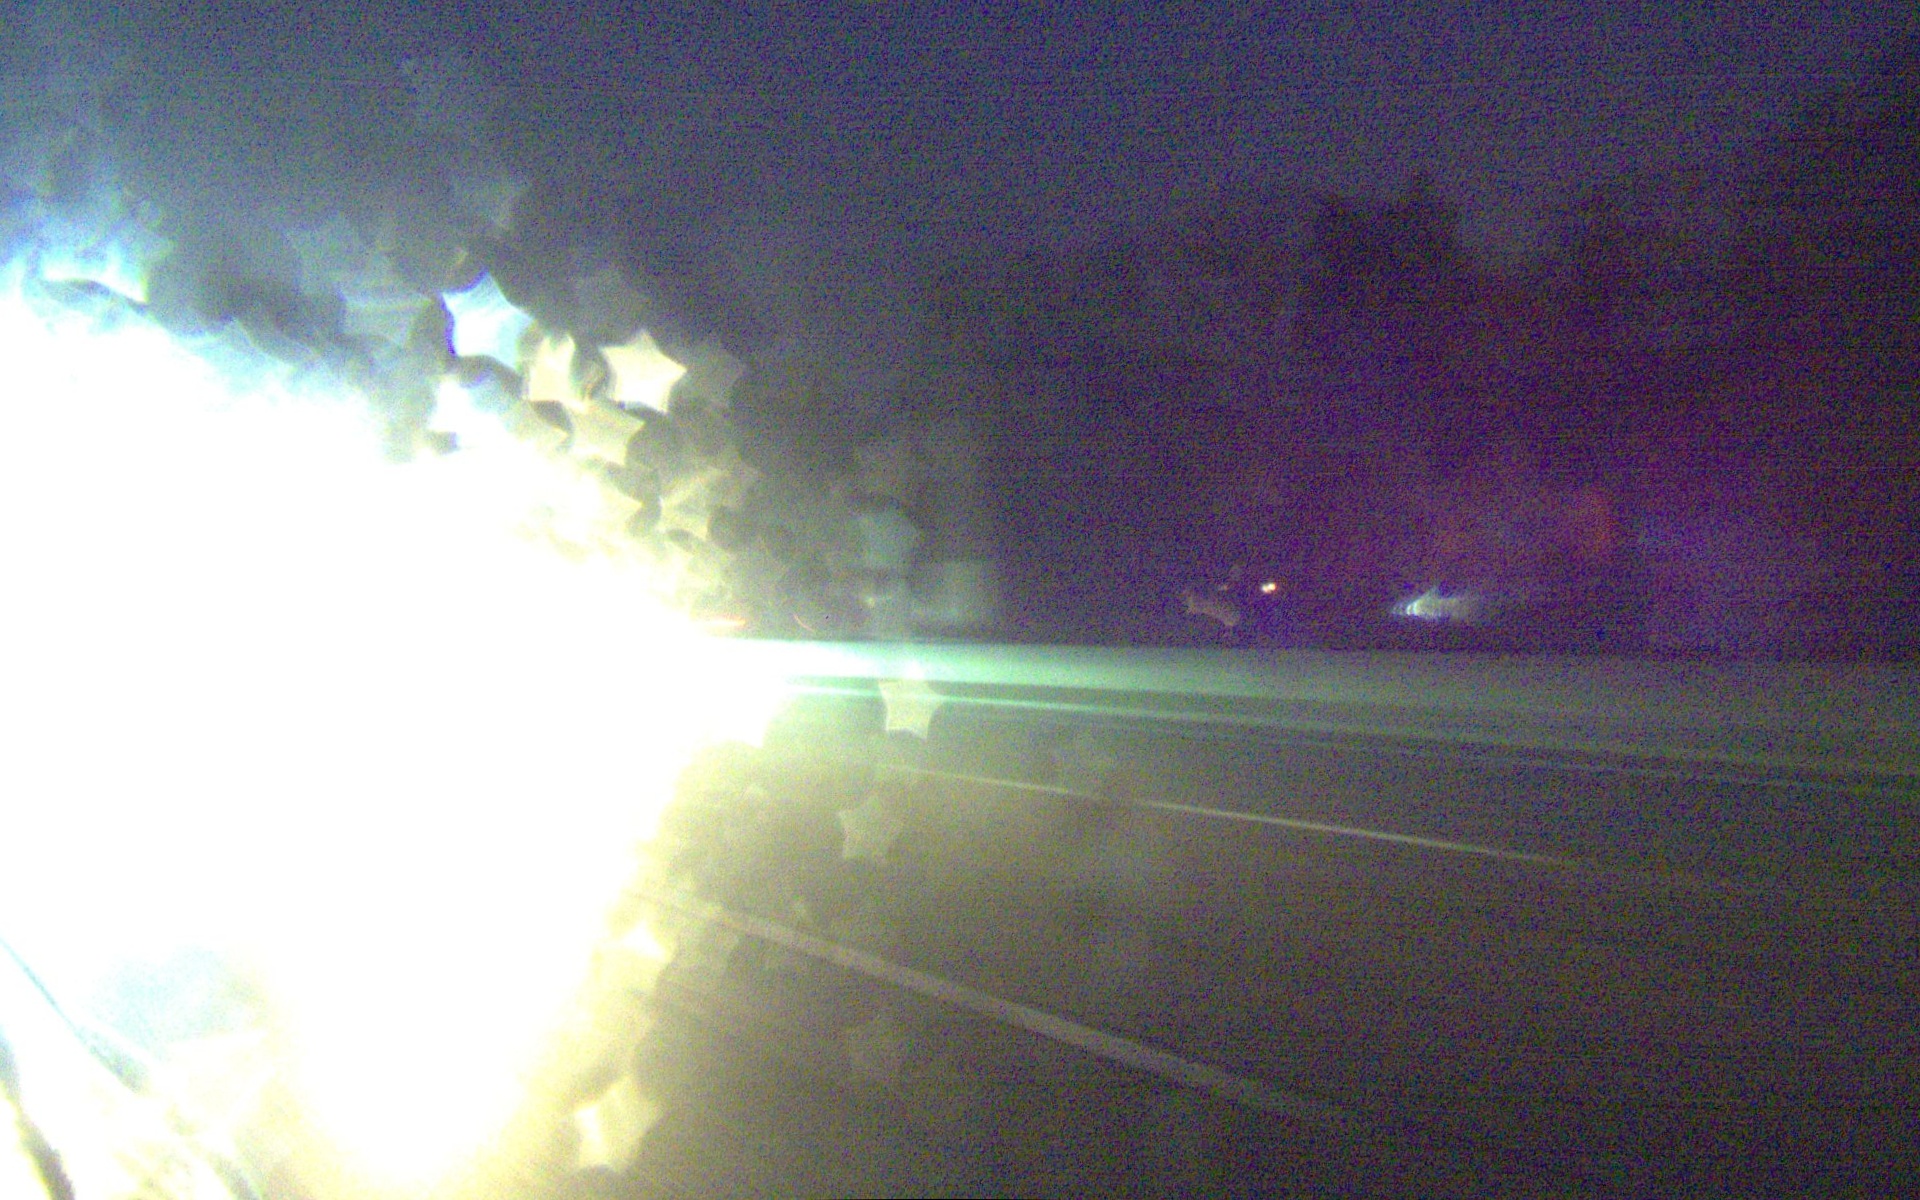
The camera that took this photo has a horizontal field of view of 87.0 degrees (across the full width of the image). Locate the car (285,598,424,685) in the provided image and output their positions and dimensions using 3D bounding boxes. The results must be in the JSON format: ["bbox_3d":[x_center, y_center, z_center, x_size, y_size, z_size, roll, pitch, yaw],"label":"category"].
[{"bbox_3d":[-15.829,1.016,26.346,2.113,2.029,4.532,-1,0,-44],"label":"car"}]

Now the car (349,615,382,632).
[{"bbox_3d":[-56.198,2.234,95.661,1.755,1.482,3.988,-4,2,-44],"label":"car"}]

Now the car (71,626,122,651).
[{"bbox_3d":[-60.906,2.712,71.403,3.871,1.621,2.280,-1,0,43],"label":"car"}]

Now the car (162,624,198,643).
[{"bbox_3d":[-75.172,3.212,97.489,4.673,1.608,1.972,-1,2,43],"label":"car"}]

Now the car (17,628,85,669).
[{"bbox_3d":[-41.587,2.184,46.277,4.000,1.689,1.972,-1,0,43],"label":"car"}]

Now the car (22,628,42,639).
[{"bbox_3d":[-116.683,4.233,127.222,1.669,1.165,3.423,-4,2,-44],"label":"car"}]

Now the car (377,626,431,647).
[{"bbox_3d":[-33.562,2.192,61.090,3.656,1.164,1.685,-1,0,40],"label":"car"}]

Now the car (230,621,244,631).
[{"bbox_3d":[-131.170,4.719,183.554,1.754,1.608,4.231,-4,2,-40],"label":"car"}]

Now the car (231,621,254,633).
[{"bbox_3d":[-106.227,3.946,149.834,5.151,1.608,1.757,-1,2,43],"label":"car"}]

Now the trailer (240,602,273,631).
[{"bbox_3d":[-128.678,3.013,185.058,3.225,5.106,13.989,-1,0,-42],"label":"trailer"}]

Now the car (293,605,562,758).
[{"bbox_3d":[-7.008,0.915,13.111,4.235,1.606,1.894,-1,0,45],"label":"car"}]

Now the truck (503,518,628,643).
[{"bbox_3d":[-21.005,-1.009,53.762,6.172,6.172,3.426,-1,3,43],"label":"truck"}]

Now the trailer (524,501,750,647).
[{"bbox_3d":[-16.100,-1.096,49.236,14.406,6.172,3.426,-1,3,43],"label":"trailer"}]

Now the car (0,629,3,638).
[{"bbox_3d":[-148.149,5.174,155.209,1.971,1.397,4.003,-4,2,-44],"label":"car"}]

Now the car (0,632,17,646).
[{"bbox_3d":[-82.712,3.380,87.475,1.669,1.165,3.423,-1,0,-44],"label":"car"}]
